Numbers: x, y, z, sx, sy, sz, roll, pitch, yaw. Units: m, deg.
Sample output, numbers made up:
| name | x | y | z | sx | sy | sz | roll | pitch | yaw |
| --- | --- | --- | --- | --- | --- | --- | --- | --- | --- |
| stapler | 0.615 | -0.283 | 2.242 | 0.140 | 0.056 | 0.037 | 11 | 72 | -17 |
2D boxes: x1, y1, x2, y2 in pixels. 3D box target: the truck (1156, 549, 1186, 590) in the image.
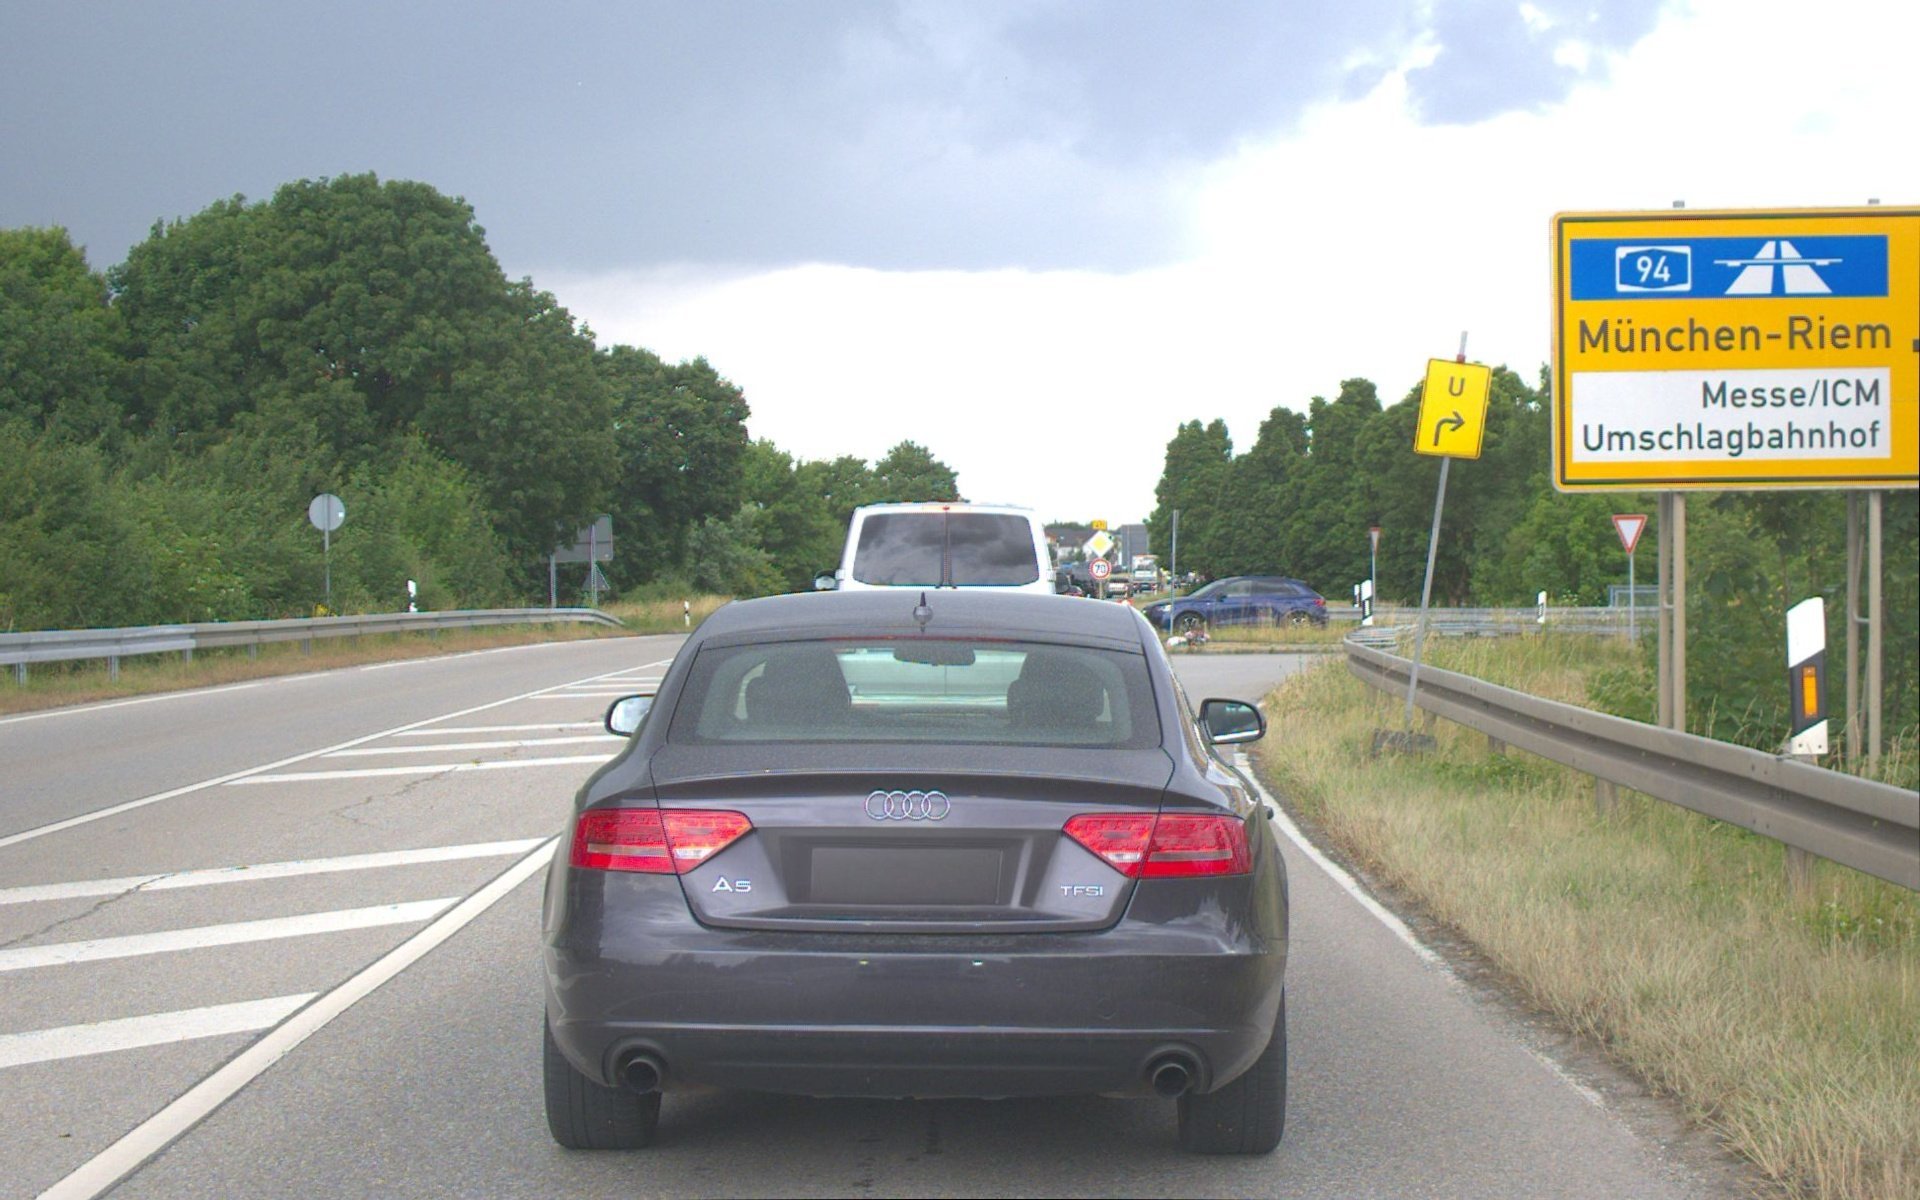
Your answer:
| name | x | y | z | sx | sy | sz | roll | pitch | yaw |
| --- | --- | --- | --- | --- | --- | --- | --- | --- | --- |
| truck | 15.001 | -2.193 | 244.594 | 1.994 | 2.908 | 5.792 | 1 | 1 | 3 |

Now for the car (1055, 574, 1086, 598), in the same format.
| name | x | y | z | sx | sy | sz | roll | pitch | yaw |
| --- | --- | --- | --- | --- | --- | --- | --- | --- | --- |
| car | 7.119 | -0.900 | 221.714 | 1.734 | 1.449 | 4.000 | 1 | 1 | -1 |

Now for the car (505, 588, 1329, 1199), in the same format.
| name | x | y | z | sx | sy | sz | roll | pitch | yaw |
| --- | --- | --- | --- | --- | --- | --- | --- | --- | --- |
| car | -0.110 | 0.681 | 9.120 | 1.779 | 1.394 | 3.336 | 0 | 1 | -1 |

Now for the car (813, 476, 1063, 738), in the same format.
| name | x | y | z | sx | sy | sz | roll | pitch | yaw |
| --- | --- | --- | --- | --- | --- | --- | --- | --- | --- |
| car | -0.183 | 0.022 | 28.616 | 1.910 | 2.007 | 4.000 | 1 | 1 | 0 |
